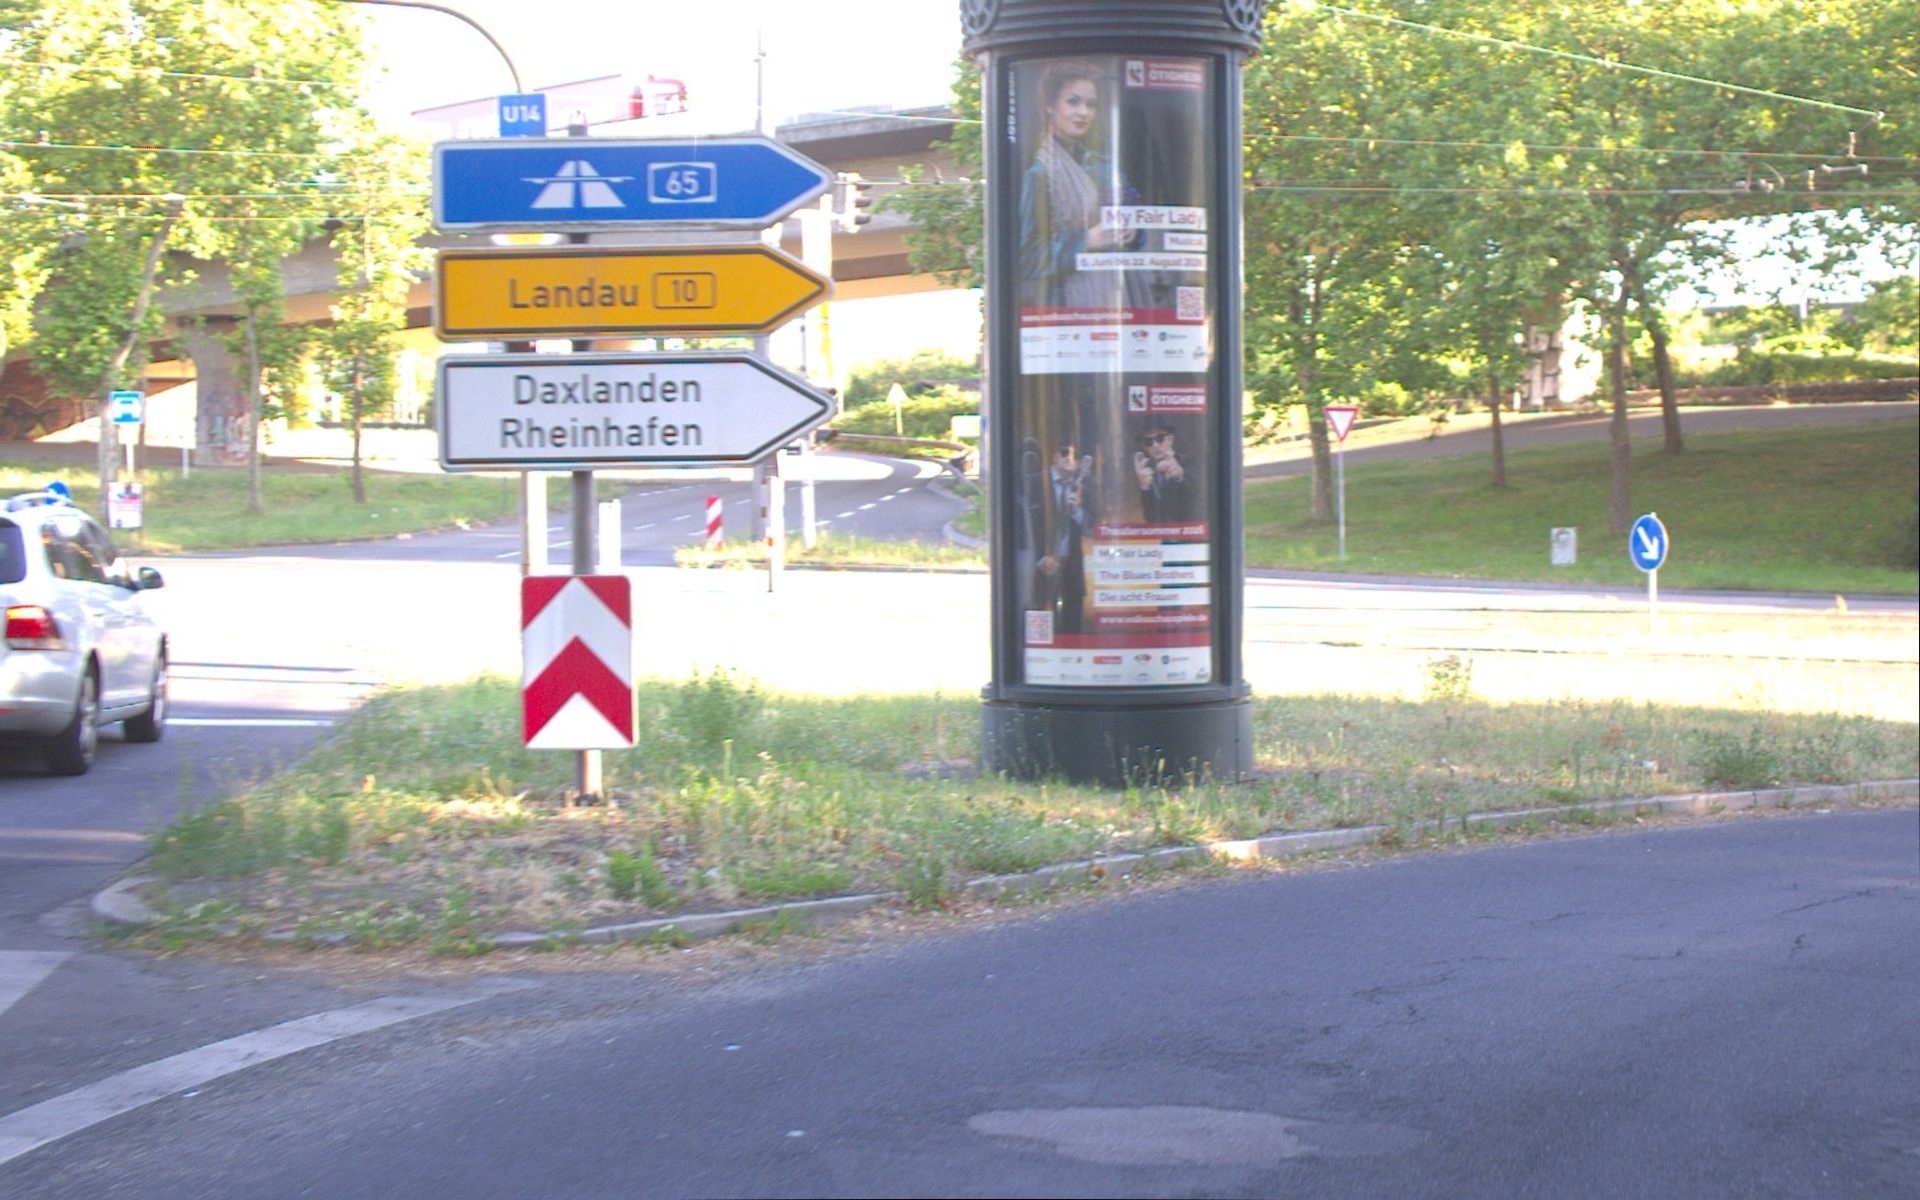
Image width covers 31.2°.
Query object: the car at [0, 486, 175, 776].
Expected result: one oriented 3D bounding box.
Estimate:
[{"bbox_3d":[-5.599,0.116,19.324,1.792,1.437,4.001,-2,2,-6],"label":"car"}]
